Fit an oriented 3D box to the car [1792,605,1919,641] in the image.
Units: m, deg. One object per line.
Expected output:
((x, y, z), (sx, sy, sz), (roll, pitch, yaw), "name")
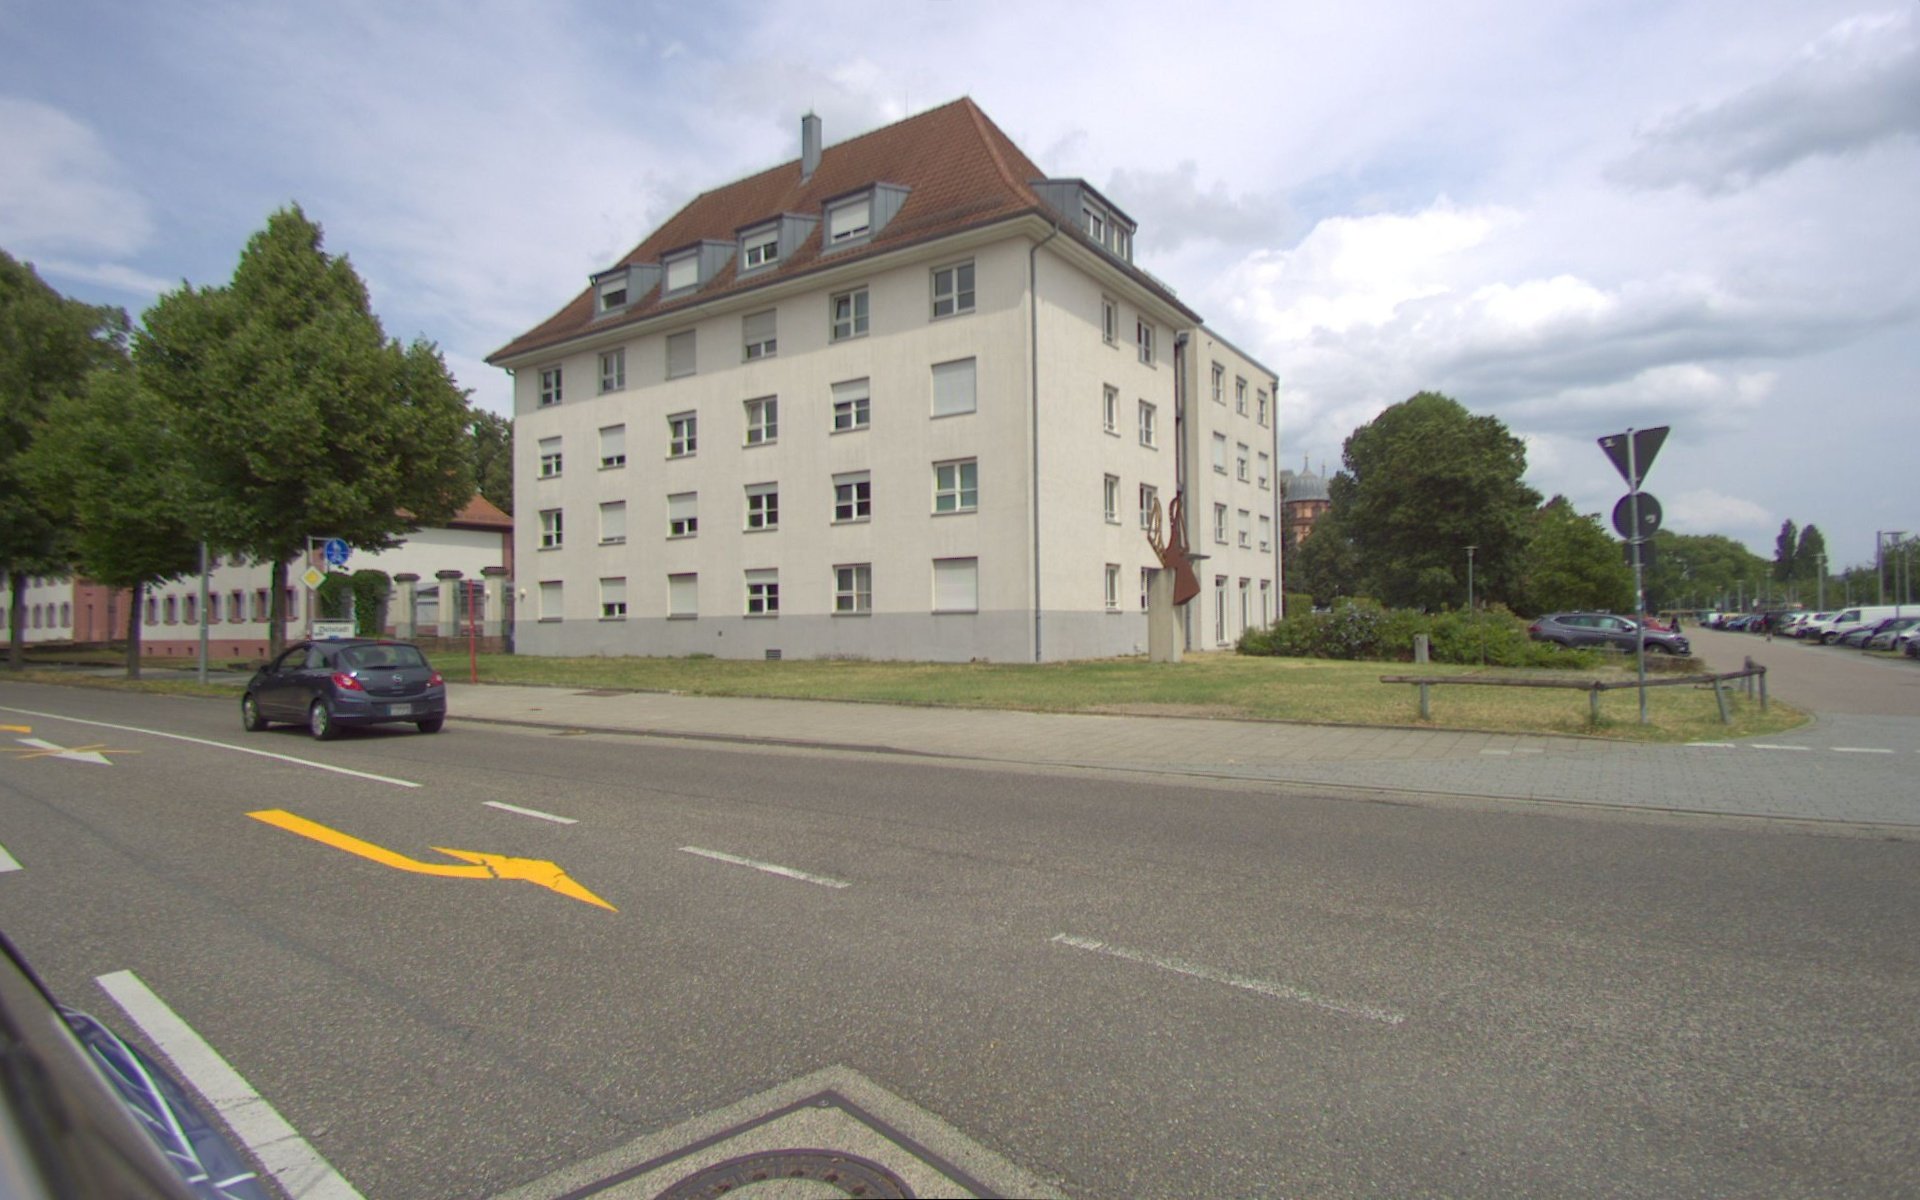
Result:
((54.623, 1.443, 61.883), (5.556, 2.071, 2.175), (-2, -2, 34), "car")

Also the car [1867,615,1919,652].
((40.359, 1.352, 41.566), (4.376, 1.482, 1.812), (-2, -2, 34), "car")

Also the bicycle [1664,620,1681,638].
((43.035, 1.732, 61.121), (0.601, 1.054, 1.804), (-3, -2, 40), "bicycle")

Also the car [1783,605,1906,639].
((55.787, 1.422, 63.992), (5.556, 2.071, 2.175), (-2, -2, 34), "car")

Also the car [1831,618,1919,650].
((44.438, 1.623, 48.157), (4.300, 1.482, 1.812), (-2, -2, 34), "car")

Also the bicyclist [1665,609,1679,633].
((43.008, 1.270, 61.118), (0.602, 1.434, 0.792), (-3, -3, 41), "bicyclist")

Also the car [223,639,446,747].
((-9.657, 1.329, 15.528), (3.914, 1.421, 1.656), (-2, -2, 38), "car")

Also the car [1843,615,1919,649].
((41.554, 1.379, 43.931), (4.592, 1.482, 1.812), (-2, -2, 34), "car")

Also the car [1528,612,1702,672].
((20.723, 1.320, 32.203), (4.487, 1.778, 1.978), (-2, -2, 33), "car")

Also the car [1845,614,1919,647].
((43.154, 1.381, 45.893), (4.300, 1.482, 1.812), (-2, -2, 34), "car")

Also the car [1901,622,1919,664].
((36.318, 1.481, 35.409), (4.697, 1.482, 1.812), (-2, -2, 34), "car")

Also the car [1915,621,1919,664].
((35.143, 1.396, 33.483), (4.876, 1.482, 1.812), (-2, -2, 34), "car")

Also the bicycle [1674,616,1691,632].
((54.632, 1.839, 76.548), (0.776, 1.185, 2.207), (-2, -2, 29), "bicycle")

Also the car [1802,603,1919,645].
((47.306, 1.234, 52.258), (5.552, 2.071, 2.177), (-2, -2, 32), "car")

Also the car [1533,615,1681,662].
((23.523, 1.388, 36.871), (4.397, 1.610, 1.976), (-2, -2, 35), "car")
